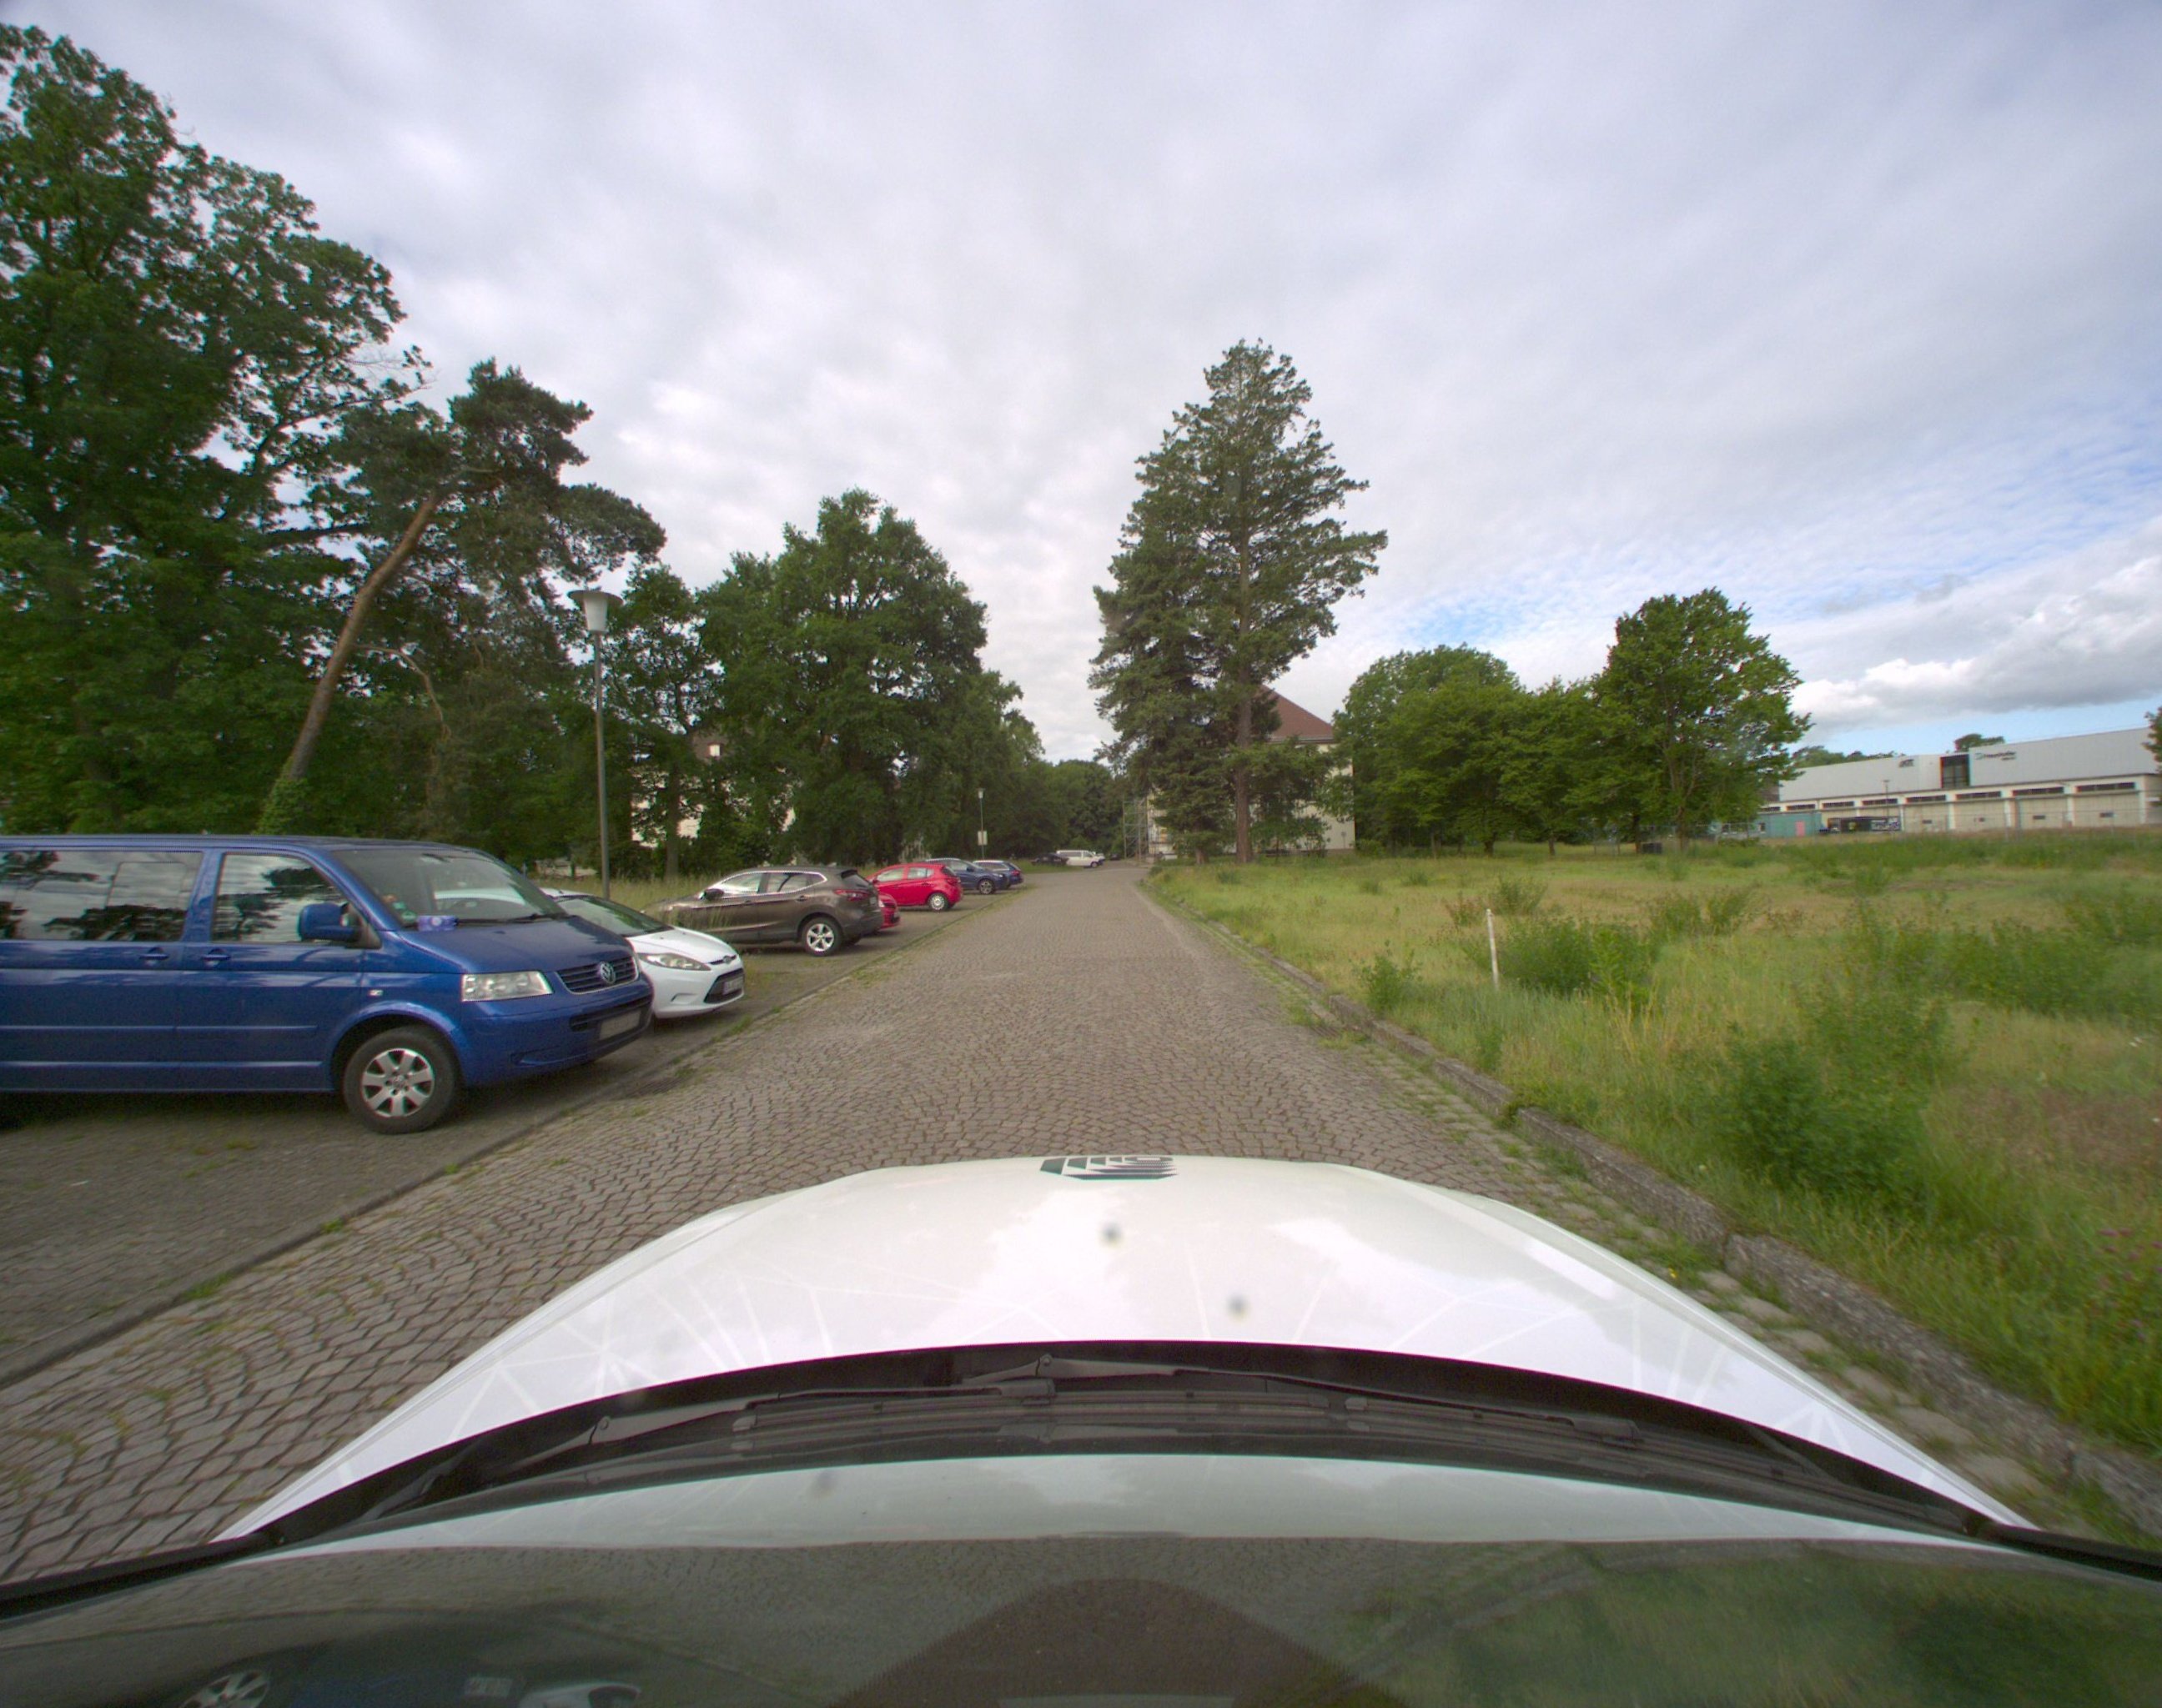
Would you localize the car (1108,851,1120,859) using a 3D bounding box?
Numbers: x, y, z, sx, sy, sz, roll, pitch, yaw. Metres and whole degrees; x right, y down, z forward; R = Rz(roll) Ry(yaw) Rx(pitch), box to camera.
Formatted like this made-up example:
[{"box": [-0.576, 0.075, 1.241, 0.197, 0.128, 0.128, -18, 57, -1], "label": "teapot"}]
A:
[{"box": [6.272, 0.225, 155.395, 1.945, 1.521, 3.999, -2, 0, 0], "label": "car"}]

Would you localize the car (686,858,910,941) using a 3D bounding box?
[{"box": [-6.032, 0.943, 17.756, 4.153, 1.510, 1.907, -2, 0, -1], "label": "car"}]

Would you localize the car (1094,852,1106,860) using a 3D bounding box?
[{"box": [3.599, 0.342, 155.121, 2.112, 1.521, 3.999, -2, 0, 0], "label": "car"}]

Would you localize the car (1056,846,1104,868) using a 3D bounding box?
[{"box": [-0.117, 0.331, 89.143, 5.220, 2.168, 1.999, -2, 0, -2], "label": "car"}]

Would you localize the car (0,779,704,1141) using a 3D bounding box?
[{"box": [-5.769, 0.680, 6.129, 4.766, 2.122, 2.115, -2, 0, 0], "label": "car"}]

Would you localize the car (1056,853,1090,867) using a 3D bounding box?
[{"box": [-0.910, 0.672, 91.742, 3.779, 1.395, 1.999, -2, 0, -2], "label": "car"}]

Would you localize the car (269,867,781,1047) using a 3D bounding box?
[{"box": [-5.652, 0.999, 8.718, 4.154, 1.510, 1.780, -2, 0, -2], "label": "car"}]

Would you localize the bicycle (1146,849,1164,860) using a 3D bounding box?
[{"box": [9.664, 0.075, 106.281, 2.231, 1.254, 0.778, -2, 0, 3], "label": "bicycle"}]

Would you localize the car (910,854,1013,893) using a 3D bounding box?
[{"box": [-5.163, 0.828, 35.638, 4.215, 1.577, 1.887, -1, 0, -1], "label": "car"}]

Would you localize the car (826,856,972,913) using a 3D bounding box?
[{"box": [-5.593, 0.919, 25.385, 4.043, 1.525, 1.904, -2, 0, -1], "label": "car"}]

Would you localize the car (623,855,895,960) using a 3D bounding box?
[{"box": [-5.753, 0.914, 15.012, 4.155, 1.622, 1.985, -2, 0, -2], "label": "car"}]

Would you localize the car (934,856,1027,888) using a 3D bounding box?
[{"box": [-4.923, 0.890, 40.352, 4.286, 1.461, 1.976, -1, 0, 2], "label": "car"}]
